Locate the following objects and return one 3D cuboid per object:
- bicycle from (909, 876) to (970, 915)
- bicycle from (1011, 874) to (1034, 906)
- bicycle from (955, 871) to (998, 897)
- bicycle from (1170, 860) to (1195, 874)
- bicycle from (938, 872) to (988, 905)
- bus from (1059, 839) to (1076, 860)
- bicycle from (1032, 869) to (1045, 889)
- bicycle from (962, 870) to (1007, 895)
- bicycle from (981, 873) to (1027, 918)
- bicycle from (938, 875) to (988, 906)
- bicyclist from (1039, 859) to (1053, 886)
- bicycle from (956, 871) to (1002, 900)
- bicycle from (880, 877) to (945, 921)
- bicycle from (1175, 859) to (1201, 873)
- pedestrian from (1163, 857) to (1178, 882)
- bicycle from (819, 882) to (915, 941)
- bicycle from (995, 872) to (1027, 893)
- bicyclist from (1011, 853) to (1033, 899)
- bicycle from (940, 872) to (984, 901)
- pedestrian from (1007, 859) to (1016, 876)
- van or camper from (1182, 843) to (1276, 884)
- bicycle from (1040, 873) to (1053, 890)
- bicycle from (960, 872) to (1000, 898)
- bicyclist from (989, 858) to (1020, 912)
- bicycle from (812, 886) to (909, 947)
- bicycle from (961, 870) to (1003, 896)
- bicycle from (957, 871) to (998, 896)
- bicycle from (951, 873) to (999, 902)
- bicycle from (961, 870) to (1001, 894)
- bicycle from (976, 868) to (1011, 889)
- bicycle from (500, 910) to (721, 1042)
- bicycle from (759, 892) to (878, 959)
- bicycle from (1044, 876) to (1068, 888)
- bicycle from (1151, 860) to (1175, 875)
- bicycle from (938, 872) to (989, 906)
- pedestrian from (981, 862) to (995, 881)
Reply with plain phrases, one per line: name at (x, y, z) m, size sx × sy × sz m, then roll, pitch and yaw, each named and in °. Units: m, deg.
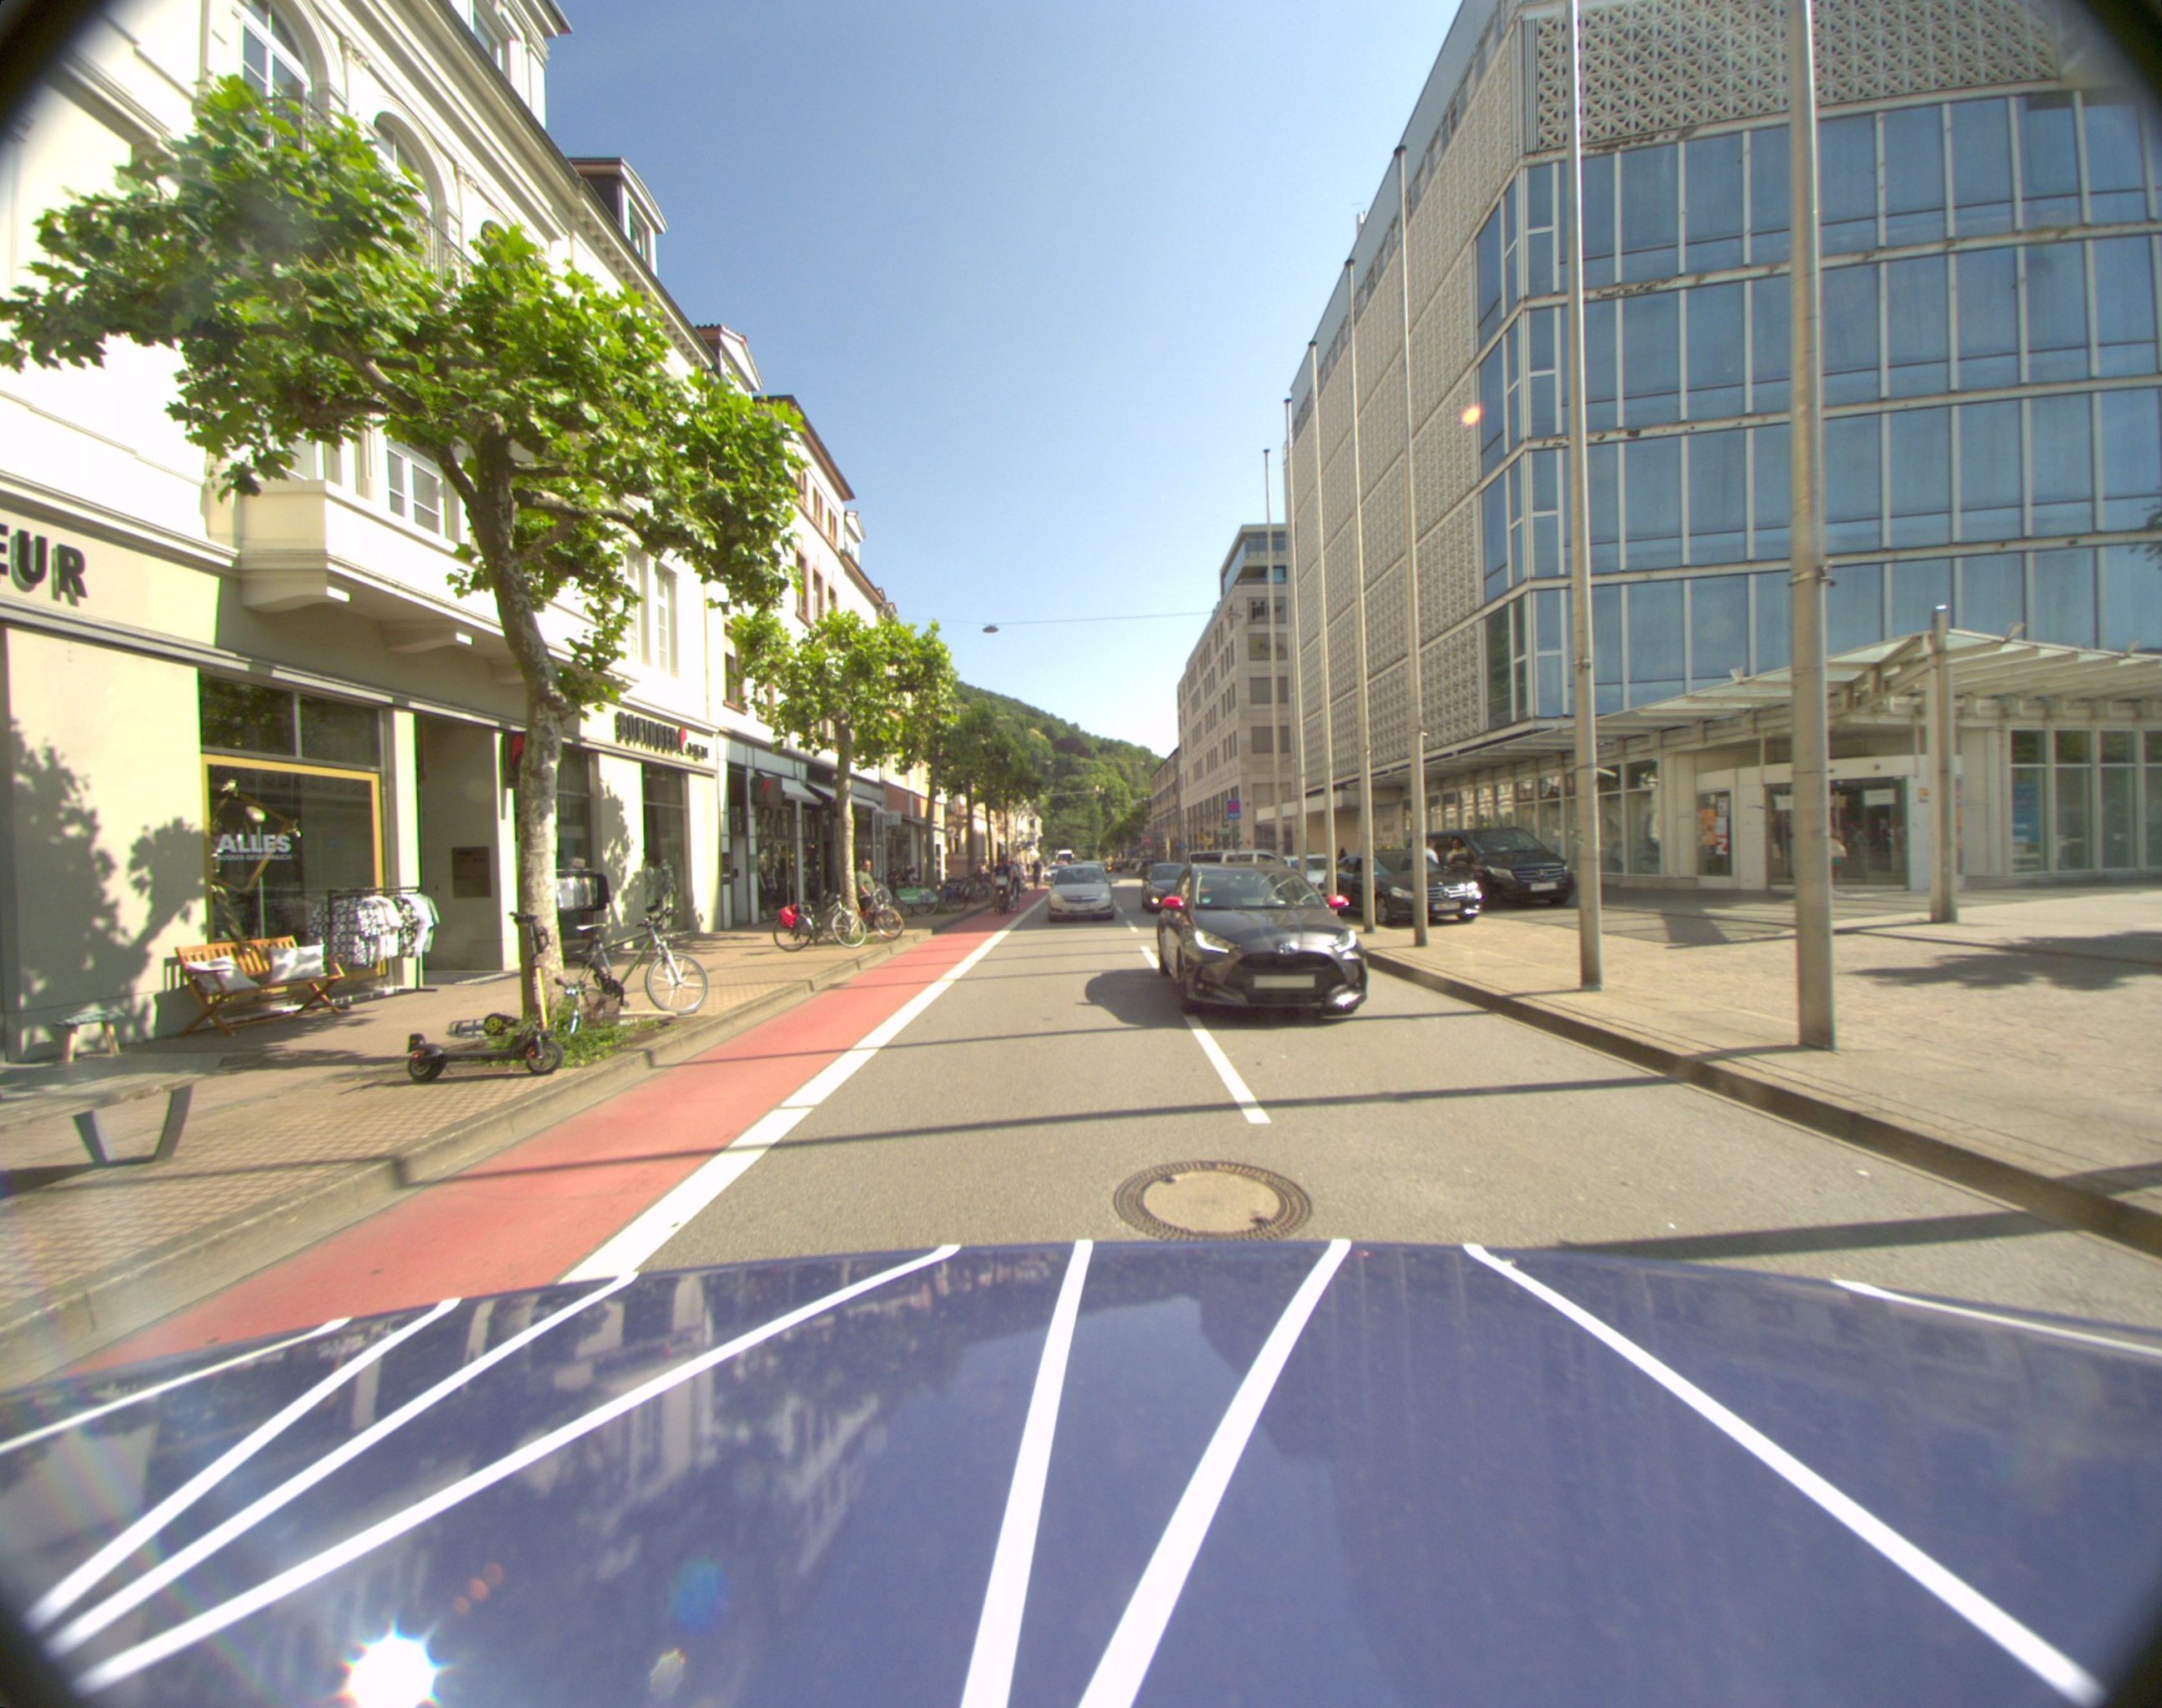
bicycle at (-4.593, 1.337, 24.697) m, size 1.845 × 1.120 × 0.497 m, roll -4°, pitch -1°, yaw -7°
bicycle at (-2.246, 1.371, 29.296) m, size 0.737 × 1.120 × 2.033 m, roll -2°, pitch 0°, yaw -2°
bicycle at (-4.816, 1.366, 35.054) m, size 1.844 × 1.120 × 0.448 m, roll -2°, pitch 1°, yaw 3°
bicycle at (8.658, 1.116, 65.028) m, size 2.058 × 1.162 × 0.606 m, roll -1°, pitch 1°, yaw 37°
bicycle at (-4.731, 1.370, 30.395) m, size 1.846 × 1.120 × 0.764 m, roll -4°, pitch 2°, yaw -12°
bus at (-2.470, -0.773, 135.727) m, size 2.924 × 3.515 × 12.498 m, roll -1°, pitch 0°, yaw -1°
bicycle at (-2.538, 1.481, 45.850) m, size 0.607 × 1.120 × 1.860 m, roll 0°, pitch 1°, yaw 2°
bicycle at (-4.704, 1.378, 37.003) m, size 1.989 × 1.120 × 0.762 m, roll -1°, pitch 1°, yaw 13°
bicycle at (-2.367, 1.270, 23.804) m, size 0.733 × 1.261 × 2.284 m, roll -3°, pitch -1°, yaw 11°
bicycle at (-4.598, 1.408, 29.652) m, size 1.846 × 1.087 × 0.564 m, roll -3°, pitch 1°, yaw -10°
bicyclist at (-2.259, 1.194, 49.328) m, size 0.840 × 1.707 × 0.844 m, roll -1°, pitch 1°, yaw 1°
bicycle at (-4.385, 1.346, 32.718) m, size 1.849 × 1.120 × 0.592 m, roll -2°, pitch 2°, yaw -35°
bicycle at (-5.092, 1.336, 23.038) m, size 1.783 × 1.190 × 0.576 m, roll -3°, pitch 1°, yaw -27°
bicycle at (9.316, 1.053, 66.164) m, size 2.059 × 1.120 × 0.648 m, roll -2°, pitch 0°, yaw 27°
pedestrian at (5.705, 0.977, 48.377) m, size 0.641 × 1.550 × 0.680 m, roll -3°, pitch 0°, yaw -11°
bicycle at (-4.679, 1.250, 16.671) m, size 1.843 × 1.190 × 0.674 m, roll -3°, pitch 0°, yaw 8°
bicycle at (-4.251, 1.739, 46.457) m, size 1.855 × 0.396 × 1.014 m, roll -10°, pitch 35°, yaw 5°
bicyclist at (-2.290, 0.854, 29.374) m, size 0.684 × 1.707 × 0.844 m, roll -4°, pitch 1°, yaw -1°
bicycle at (-5.132, 1.395, 32.779) m, size 1.849 × 1.120 × 0.447 m, roll -2°, pitch 2°, yaw -36°
pedestrian at (-7.644, 1.460, 83.479) m, size 0.840 × 1.781 × 0.767 m, roll -1°, pitch 1°, yaw 1°
van or camper at (8.157, 0.556, 42.084) m, size 4.648 × 2.001 × 2.004 m, roll -4°, pitch -1°, yaw 40°
bicycle at (-2.224, 1.791, 49.493) m, size 0.664 × 1.111 × 1.992 m, roll -1°, pitch -2°, yaw 2°
bicycle at (-4.491, 1.362, 33.749) m, size 1.841 × 1.120 × 0.449 m, roll -1°, pitch 2°, yaw 28°
bicyclist at (-2.390, 0.953, 23.796) m, size 0.732 × 1.664 × 0.775 m, roll -1°, pitch 1°, yaw 12°
bicycle at (-4.523, 1.284, 15.603) m, size 1.843 × 1.120 × 0.498 m, roll -3°, pitch 1°, yaw 12°
bicycle at (-4.719, 1.401, 36.313) m, size 1.843 × 1.120 × 0.530 m, roll -4°, pitch 1°, yaw 13°
bicycle at (-4.829, 1.366, 35.513) m, size 1.844 × 1.120 × 0.448 m, roll -2°, pitch 1°, yaw 3°
bicycle at (-4.374, 1.385, 31.364) m, size 1.844 × 1.087 × 0.564 m, roll -3°, pitch 1°, yaw 1°
bicycle at (-4.979, 1.393, 37.975) m, size 1.844 × 1.121 × 0.679 m, roll -2°, pitch 2°, yaw 5°
bicycle at (-4.897, 1.384, 42.609) m, size 1.844 × 1.120 × 0.666 m, roll -2°, pitch 1°, yaw 2°
bicycle at (-4.819, 1.236, 7.842) m, size 1.844 × 1.179 × 0.670 m, roll -3°, pitch 1°, yaw 6°
bicycle at (-4.797, 1.303, 13.951) m, size 1.844 × 1.090 × 0.794 m, roll -3°, pitch 0°, yaw 6°
bicycle at (-1.916, 2.144, 57.961) m, size 1.826 × 0.839 × 0.501 m, roll -2°, pitch 0°, yaw 1°
bicycle at (7.060, 1.172, 65.508) m, size 0.606 × 1.166 × 2.059 m, roll -4°, pitch 1°, yaw -45°
bicycle at (-4.506, 1.343, 29.151) m, size 1.846 × 1.120 × 0.632 m, roll -4°, pitch 1°, yaw -10°
pedestrian at (-7.856, 1.477, 64.394) m, size 0.904 × 1.603 × 0.974 m, roll -1°, pitch 3°, yaw -28°
